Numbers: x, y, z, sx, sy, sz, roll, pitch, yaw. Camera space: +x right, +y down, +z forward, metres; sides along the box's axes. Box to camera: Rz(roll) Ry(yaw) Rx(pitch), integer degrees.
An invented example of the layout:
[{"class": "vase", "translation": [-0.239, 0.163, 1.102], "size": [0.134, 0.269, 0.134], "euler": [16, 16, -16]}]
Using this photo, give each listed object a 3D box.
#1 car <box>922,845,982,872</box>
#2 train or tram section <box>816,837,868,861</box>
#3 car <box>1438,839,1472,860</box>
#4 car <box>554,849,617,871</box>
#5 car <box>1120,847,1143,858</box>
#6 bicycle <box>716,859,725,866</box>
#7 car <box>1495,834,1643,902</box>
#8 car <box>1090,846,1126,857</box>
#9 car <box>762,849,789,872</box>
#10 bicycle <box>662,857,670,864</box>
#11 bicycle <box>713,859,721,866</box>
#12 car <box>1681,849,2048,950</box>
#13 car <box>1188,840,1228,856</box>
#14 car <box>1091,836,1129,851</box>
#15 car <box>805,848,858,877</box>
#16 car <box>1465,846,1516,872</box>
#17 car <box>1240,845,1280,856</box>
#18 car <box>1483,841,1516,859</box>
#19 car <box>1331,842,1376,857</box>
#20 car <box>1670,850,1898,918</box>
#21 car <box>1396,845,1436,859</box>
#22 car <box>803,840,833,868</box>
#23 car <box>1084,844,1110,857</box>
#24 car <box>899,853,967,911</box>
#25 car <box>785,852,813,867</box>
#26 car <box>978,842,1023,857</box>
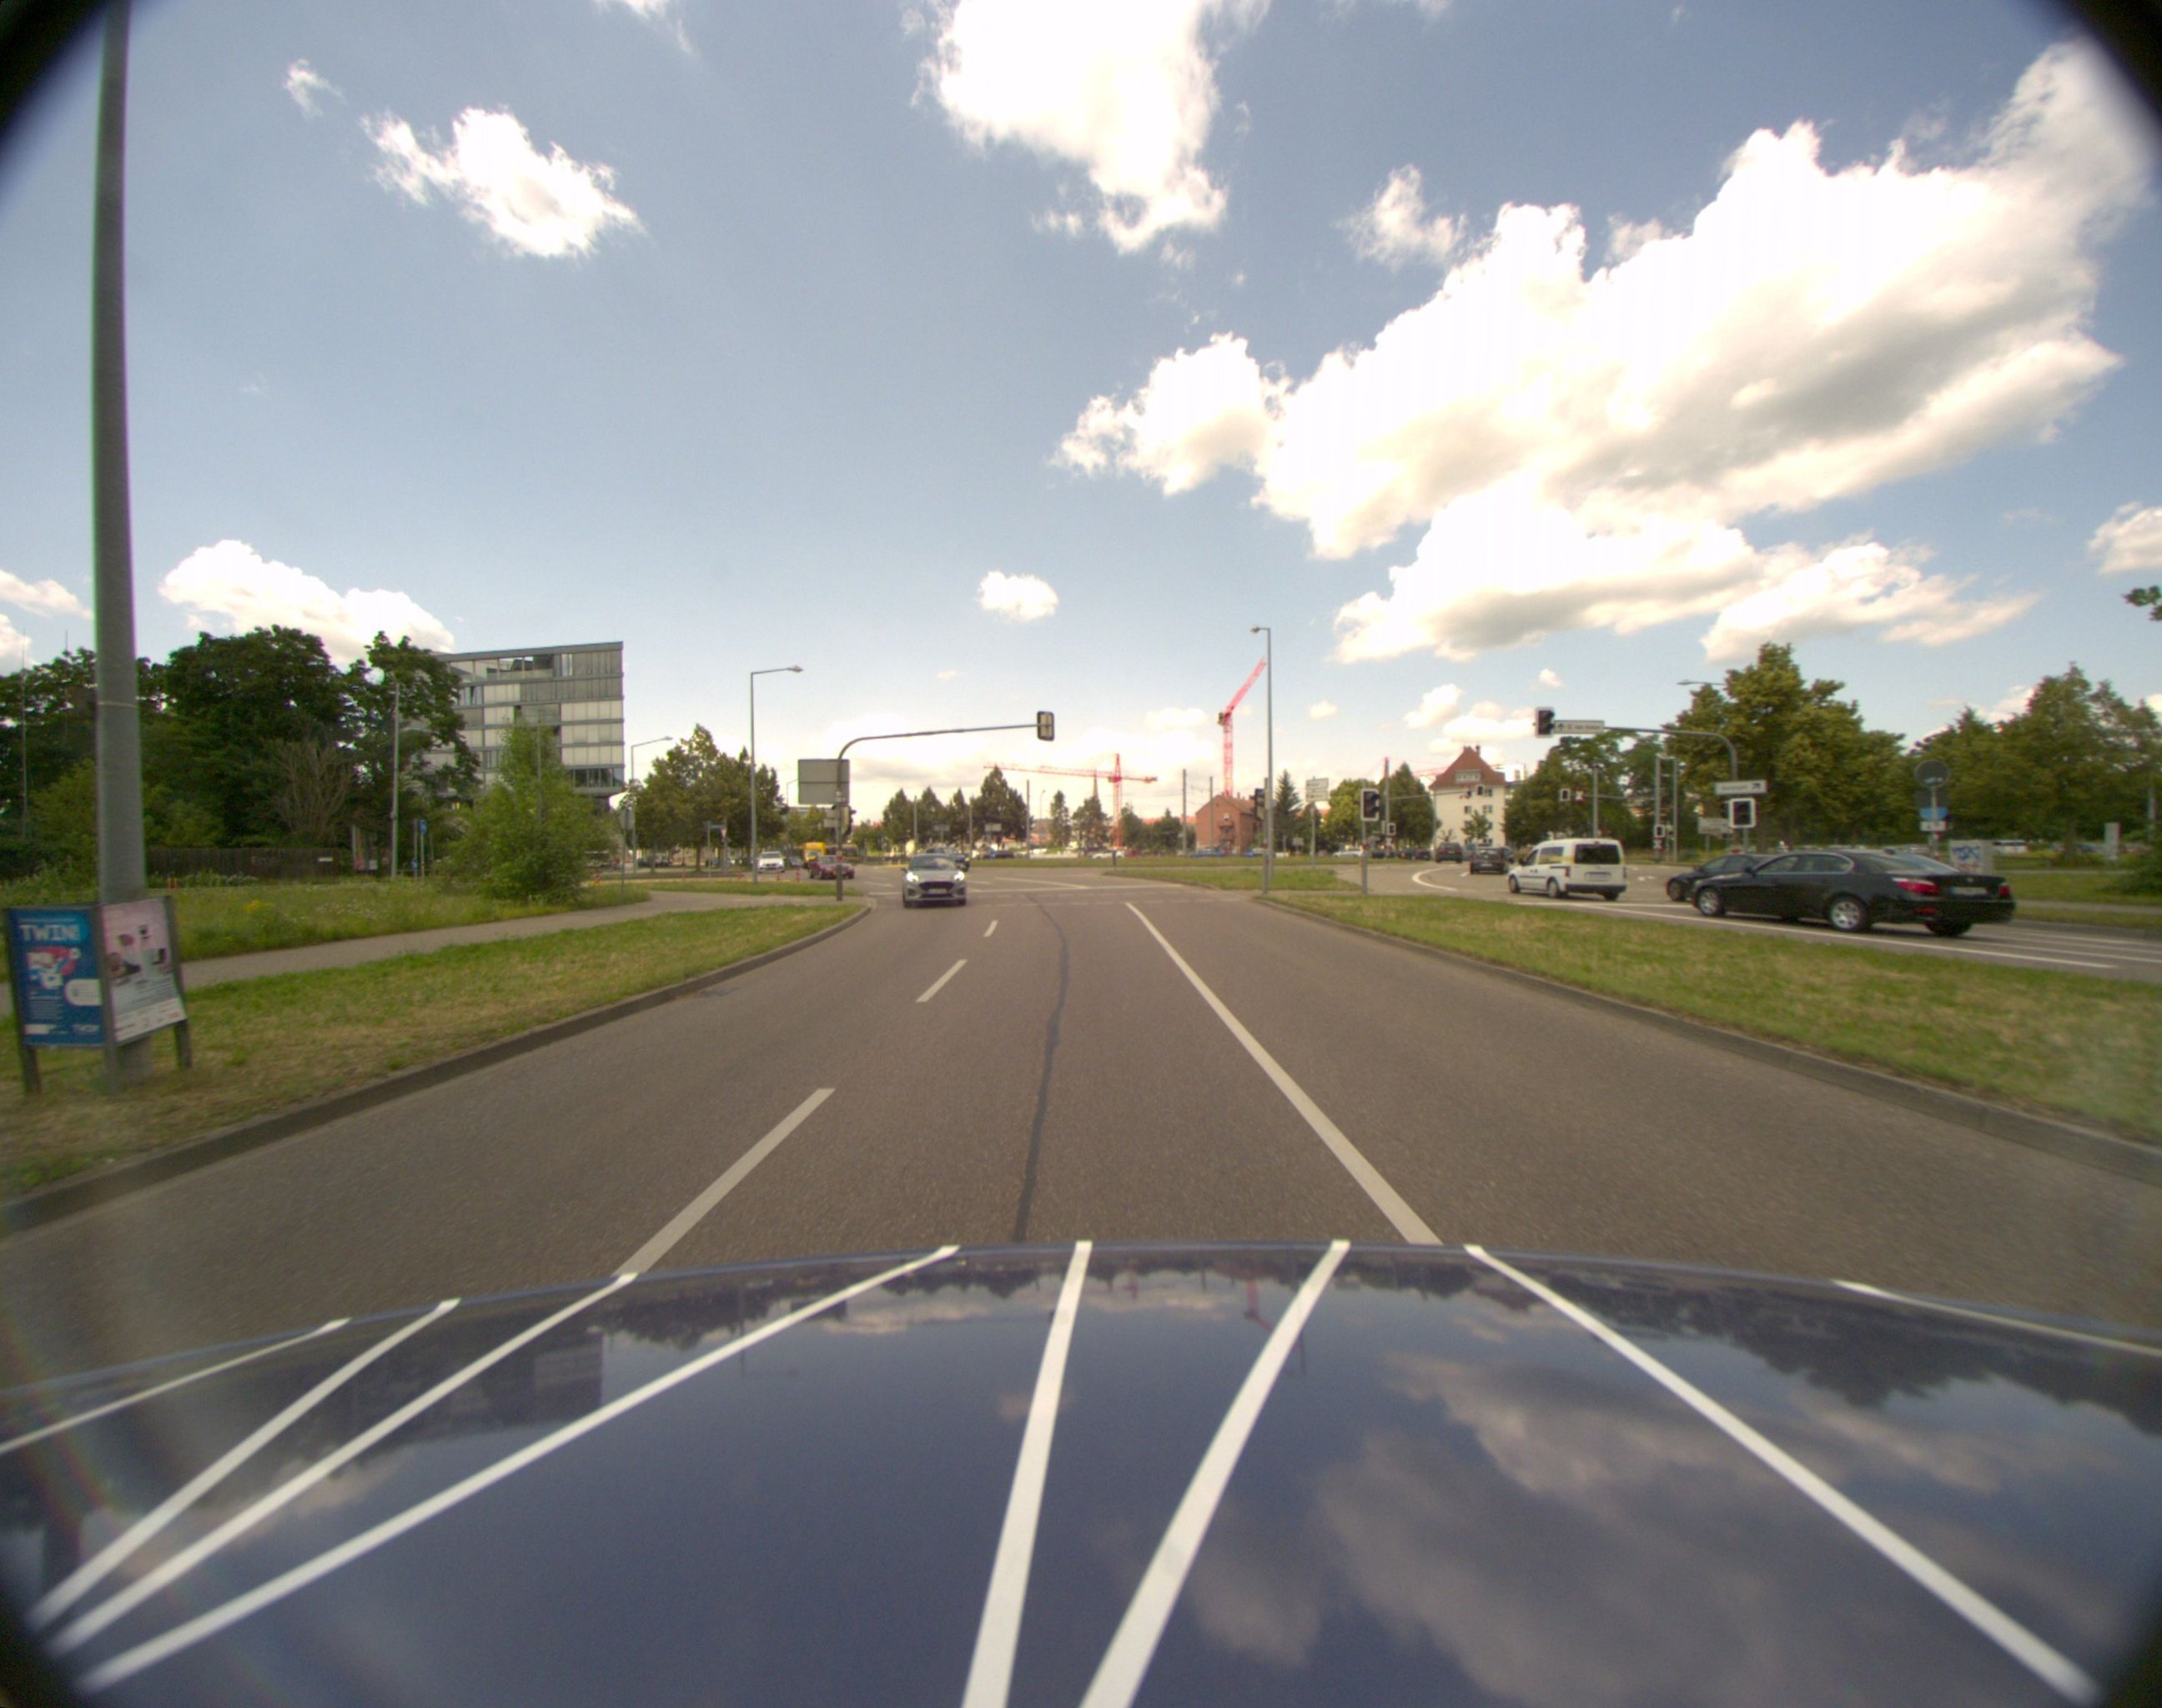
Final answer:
[{"class": "car", "translation": [-8.331, 0.234, 48.819], "size": [1.779, 1.590, 4.115], "euler": [-4, 3, -42]}, {"class": "train or tram section", "translation": [-39.849, -0.716, 126.136], "size": [2.857, 3.718, 13.439], "euler": [-2, 0, -42]}, {"class": "car", "translation": [29.956, -0.403, 60.822], "size": [1.908, 1.583, 4.601], "euler": [0, 1, 32]}, {"class": "car", "translation": [-52.326, 0.595, 80.349], "size": [2.143, 2.135, 5.161], "euler": [-1, 1, 30]}, {"class": "car", "translation": [8.962, -0.262, 135.836], "size": [2.090, 1.841, 5.175], "euler": [-1, 0, -22]}, {"class": "bicycle", "translation": [-43.498, 1.006, 91.670], "size": [1.469, 0.821, 0.359], "euler": [-1, 1, 43]}, {"class": "car", "translation": [14.423, 0.356, 22.824], "size": [1.841, 1.789, 4.790], "euler": [1, 1, 8]}, {"class": "car", "translation": [3.409, -0.272, 95.392], "size": [4.304, 1.322, 2.001], "euler": [-1, 0, 10]}, {"class": "car", "translation": [-22.557, 0.466, 56.194], "size": [1.676, 1.589, 4.120], "euler": [-3, 1, -20]}, {"class": "bicycle", "translation": [-60.271, 0.941, 110.320], "size": [0.517, 1.082, 1.744], "euler": [-1, 0, -45]}, {"class": "bicycle", "translation": [-43.950, 1.022, 91.742], "size": [1.469, 0.821, 0.359], "euler": [-1, 1, 43]}, {"class": "car", "translation": [13.855, 0.684, 14.000], "size": [1.842, 1.471, 4.752], "euler": [1, 1, 0]}, {"class": "car", "translation": [15.542, -0.741, 92.868], "size": [4.397, 1.788, 1.759], "euler": [-1, 0, 26]}, {"class": "car", "translation": [3.891, -1.393, 102.885], "size": [4.729, 2.002, 1.997], "euler": [-1, 0, -18]}, {"class": "car", "translation": [-13.888, 0.437, 42.176], "size": [1.677, 1.255, 4.079], "euler": [-4, 6, -35]}, {"class": "car", "translation": [22.092, 0.253, 40.884], "size": [1.838, 1.303, 4.798], "euler": [2, 1, 35]}, {"class": "car", "translation": [22.253, -0.430, 94.661], "size": [4.479, 1.315, 1.958], "euler": [-1, 0, 27]}, {"class": "car", "translation": [33.761, -0.338, 61.335], "size": [1.907, 1.415, 4.198], "euler": [0, 1, 23]}, {"class": "car", "translation": [30.973, -0.496, 86.494], "size": [2.127, 1.513, 4.496], "euler": [-1, 0, -32]}, {"class": "car", "translation": [17.362, 0.656, 19.140], "size": [1.842, 1.435, 4.420], "euler": [1, 1, 5]}, {"class": "car", "translation": [34.385, -0.235, 78.077], "size": [1.803, 1.332, 3.975], "euler": [1, 0, -12]}, {"class": "car", "translation": [-28.116, -0.043, 81.361], "size": [2.287, 2.837, 7.246], "euler": [-1, 1, -14]}, {"class": "car", "translation": [2.730, -0.581, 132.350], "size": [2.396, 2.184, 6.828], "euler": [-1, 0, -17]}, {"class": "car", "translation": [-4.600, 0.787, 23.216], "size": [1.676, 1.463, 4.085], "euler": [-2, 2, -16]}, {"class": "car", "translation": [-35.851, 0.676, 96.512], "size": [2.003, 1.751, 4.283], "euler": [-4, 2, -40]}, {"class": "car", "translation": [-9.733, -0.580, 91.641], "size": [5.074, 1.665, 1.997], "euler": [-1, 0, -17]}]
